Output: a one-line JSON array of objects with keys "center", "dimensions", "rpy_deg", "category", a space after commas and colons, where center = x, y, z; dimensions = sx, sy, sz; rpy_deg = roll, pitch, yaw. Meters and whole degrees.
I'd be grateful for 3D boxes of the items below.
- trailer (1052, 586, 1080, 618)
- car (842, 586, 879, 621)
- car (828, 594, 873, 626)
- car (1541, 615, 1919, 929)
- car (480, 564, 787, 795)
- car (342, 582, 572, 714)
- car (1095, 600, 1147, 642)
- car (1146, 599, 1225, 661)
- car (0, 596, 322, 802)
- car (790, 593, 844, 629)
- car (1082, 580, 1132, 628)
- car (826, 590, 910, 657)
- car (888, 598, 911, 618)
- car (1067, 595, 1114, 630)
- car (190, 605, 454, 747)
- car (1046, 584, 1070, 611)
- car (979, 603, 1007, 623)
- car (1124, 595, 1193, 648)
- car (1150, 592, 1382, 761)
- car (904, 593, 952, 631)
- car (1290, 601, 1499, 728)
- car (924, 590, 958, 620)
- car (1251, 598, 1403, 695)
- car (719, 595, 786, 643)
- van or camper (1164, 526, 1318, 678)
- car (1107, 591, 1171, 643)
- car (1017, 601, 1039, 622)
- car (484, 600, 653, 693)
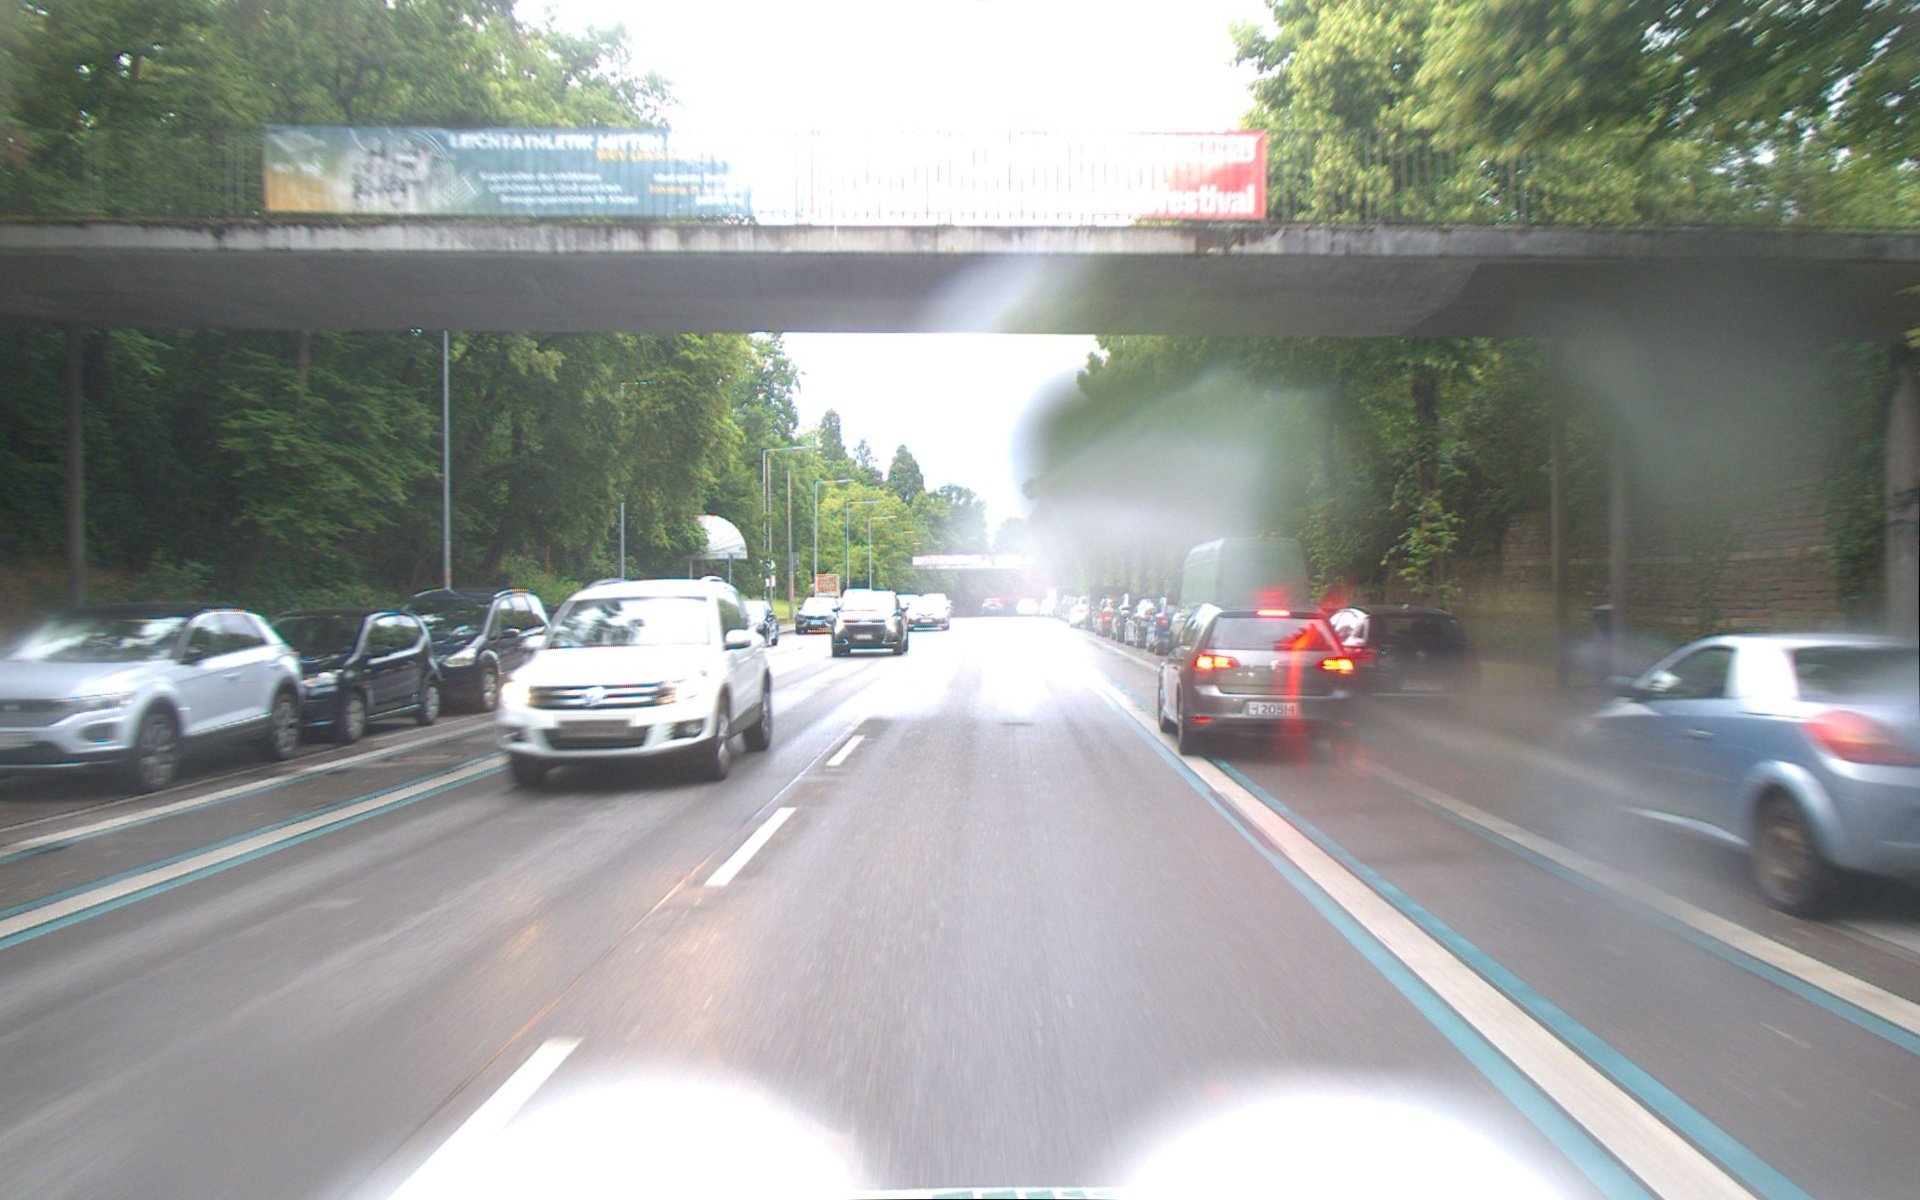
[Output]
[{"center": [7.470, 0.128, 116.828], "dimensions": [1.845, 2.204, 3.809], "rpy_deg": [-1, 0, 2], "category": "trailer"}, {"center": [-5.805, 0.169, 96.979], "dimensions": [1.873, 1.965, 4.928], "rpy_deg": [0, 1, 0], "category": "car"}, {"center": [-5.999, 0.524, 90.931], "dimensions": [1.949, 1.633, 4.986], "rpy_deg": [-1, 1, 2], "category": "car"}, {"center": [4.845, 0.818, 9.515], "dimensions": [1.552, 1.376, 3.861], "rpy_deg": [1, 0, -1], "category": "car"}, {"center": [-2.725, 0.602, 14.784], "dimensions": [1.796, 1.695, 4.181], "rpy_deg": [-2, 0, 1], "category": "car"}, {"center": [-7.436, 0.626, 25.007], "dimensions": [1.949, 1.772, 4.838], "rpy_deg": [0, 1, 0], "category": "car"}, {"center": [6.094, 0.773, 62.829], "dimensions": [1.651, 1.478, 4.166], "rpy_deg": [1, 0, 1], "category": "car"}, {"center": [5.989, 0.771, 44.286], "dimensions": [1.651, 1.540, 3.836], "rpy_deg": [1, 0, 1], "category": "car"}, {"center": [-7.516, 0.777, 15.178], "dimensions": [1.653, 1.573, 4.233], "rpy_deg": [0, 1, 0], "category": "car"}, {"center": [-6.152, 0.449, 71.550], "dimensions": [2.035, 1.508, 4.672], "rpy_deg": [0, 0, -2], "category": "car"}, {"center": [6.513, 0.161, 73.678], "dimensions": [1.886, 2.057, 4.664], "rpy_deg": [0, 0, 1], "category": "car"}, {"center": [-2.380, 0.570, 43.710], "dimensions": [1.925, 1.656, 4.321], "rpy_deg": [-1, 0, 0], "category": "car"}, {"center": [-4.953, 0.663, 135.661], "dimensions": [1.832, 1.569, 4.053], "rpy_deg": [0, 1, -2], "category": "car"}, {"center": [6.164, 0.560, 78.570], "dimensions": [1.752, 1.570, 4.889], "rpy_deg": [1, 0, -1], "category": "car"}, {"center": [-7.464, 0.822, 19.743], "dimensions": [1.576, 1.464, 3.844], "rpy_deg": [0, 1, 1], "category": "car"}, {"center": [7.888, -0.200, 133.476], "dimensions": [1.850, 2.164, 4.046], "rpy_deg": [1, 0, 2], "category": "car"}, {"center": [2.633, 1.038, 132.755], "dimensions": [2.096, 1.518, 4.498], "rpy_deg": [0, 0, -1], "category": "car"}, {"center": [5.950, 0.604, 49.885], "dimensions": [1.651, 1.481, 4.147], "rpy_deg": [1, 0, 1], "category": "car"}, {"center": [3.017, 0.684, 17.117], "dimensions": [1.780, 1.534, 4.140], "rpy_deg": [0, 0, 2], "category": "car"}, {"center": [-1.373, 0.509, 72.065], "dimensions": [1.881, 1.588, 4.621], "rpy_deg": [0, 0, 1], "category": "car"}, {"center": [5.492, 0.753, 21.407], "dimensions": [1.651, 1.441, 4.197], "rpy_deg": [0, 0, 1], "category": "car"}, {"center": [-1.111, 0.265, 96.320], "dimensions": [1.758, 1.680, 4.130], "rpy_deg": [-2, 0, 2], "category": "car"}, {"center": [5.876, 0.698, 26.929], "dimensions": [1.651, 1.441, 4.101], "rpy_deg": [1, 0, 1], "category": "car"}, {"center": [-6.701, 0.587, 53.795], "dimensions": [1.636, 1.483, 3.993], "rpy_deg": [0, 0, 0], "category": "car"}, {"center": [5.635, 0.012, 34.139], "dimensions": [2.000, 2.777, 6.901], "rpy_deg": [1, 0, 0], "category": "van or camper"}, {"center": [5.923, 0.532, 55.060], "dimensions": [1.720, 1.617, 4.499], "rpy_deg": [1, 0, 1], "category": "car"}, {"center": [5.483, 0.909, 133.941], "dimensions": [1.695, 1.611, 4.037], "rpy_deg": [-1, 0, 1], "category": "car"}, {"center": [-7.141, 0.796, 30.692], "dimensions": [1.943, 1.498, 4.898], "rpy_deg": [1, 1, 0], "category": "car"}]
